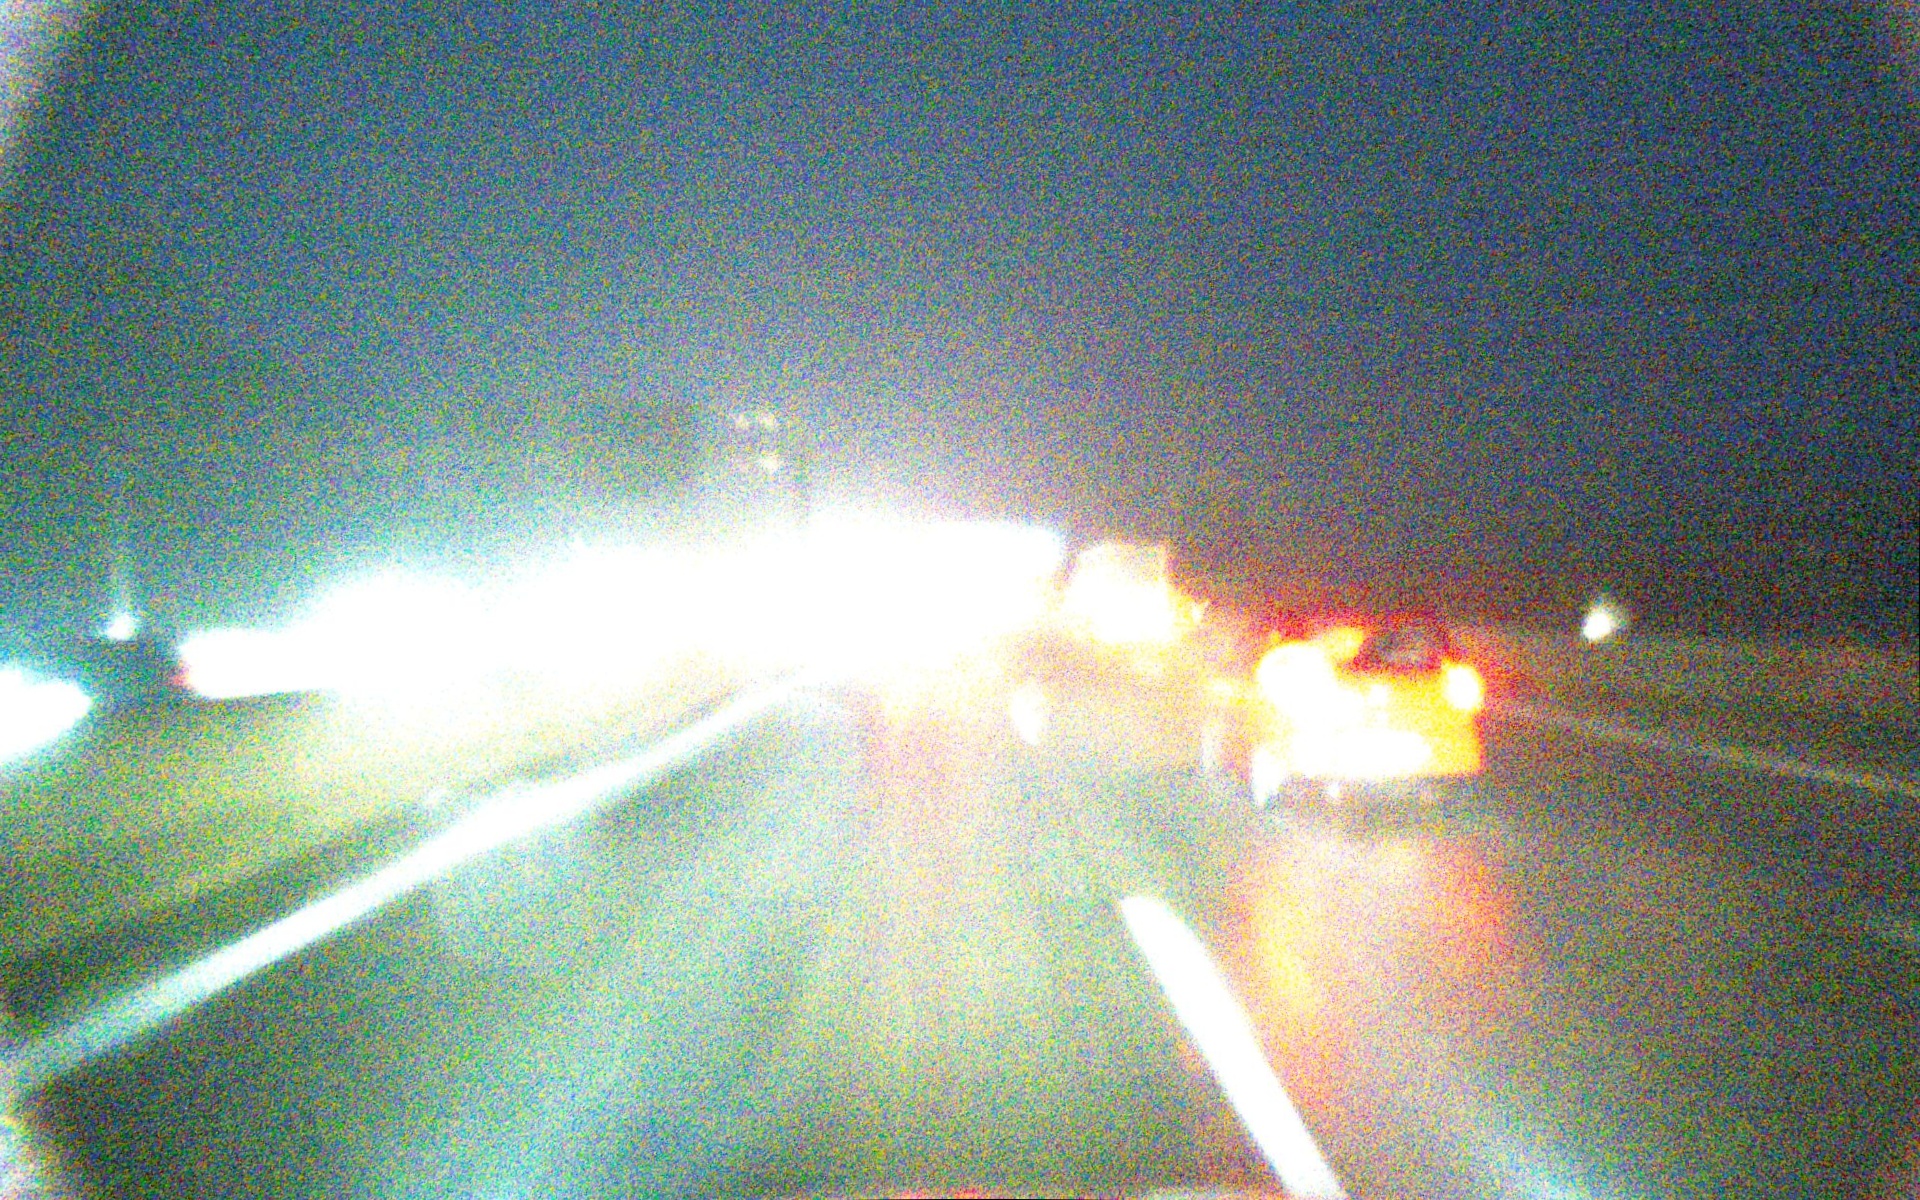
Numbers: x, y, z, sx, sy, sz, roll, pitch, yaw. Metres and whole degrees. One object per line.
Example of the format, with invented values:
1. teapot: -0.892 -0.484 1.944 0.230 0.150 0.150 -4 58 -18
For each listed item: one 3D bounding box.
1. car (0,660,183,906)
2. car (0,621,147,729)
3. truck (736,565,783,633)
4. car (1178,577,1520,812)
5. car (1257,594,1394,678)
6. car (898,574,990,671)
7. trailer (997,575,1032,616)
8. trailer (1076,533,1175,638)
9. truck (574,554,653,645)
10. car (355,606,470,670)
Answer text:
1. car: -10.053 1.805 17.173 1.953 2.048 4.295 1 2 -1
2. car: -17.132 1.319 30.502 1.953 1.805 4.957 -1 0 -2
3. truck: -13.481 -0.072 111.499 2.636 4.458 5.732 1 0 -2
4. car: 2.964 0.688 13.584 1.705 1.603 4.493 0 -1 -1
5. car: 7.076 0.667 32.389 1.607 1.529 4.011 -1 0 -3
6. car: -0.400 0.467 37.588 1.953 2.049 3.999 -1 1 -2
7. trailer: 6.176 -0.425 188.603 2.980 4.181 13.822 -2 -1 -2
8. trailer: 7.225 -0.503 74.295 2.844 4.180 14.485 -1 -1 0
9. truck: -17.053 -0.024 81.647 2.635 4.295 5.734 1 0 0
10. car: -16.355 1.099 49.680 1.953 1.805 4.957 1 0 -2
